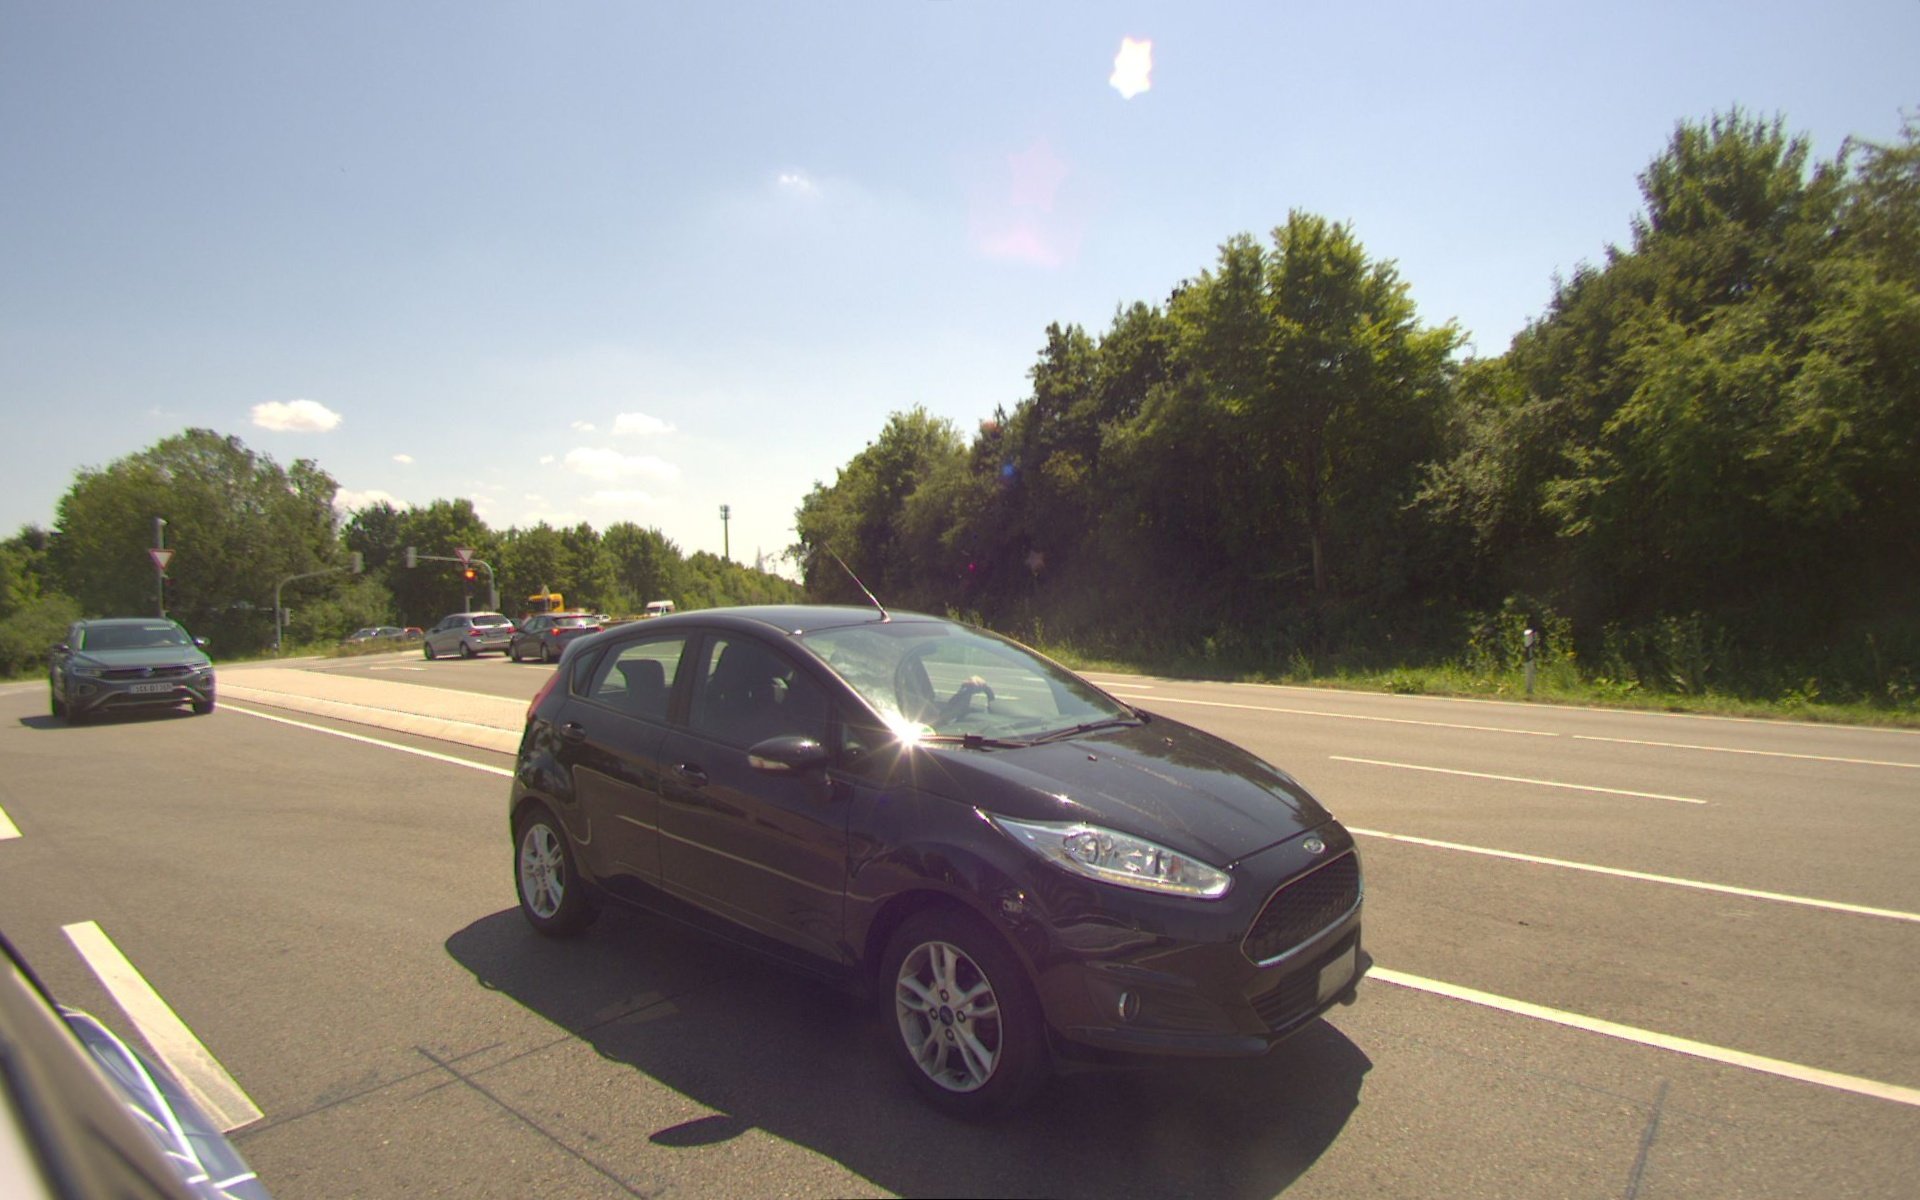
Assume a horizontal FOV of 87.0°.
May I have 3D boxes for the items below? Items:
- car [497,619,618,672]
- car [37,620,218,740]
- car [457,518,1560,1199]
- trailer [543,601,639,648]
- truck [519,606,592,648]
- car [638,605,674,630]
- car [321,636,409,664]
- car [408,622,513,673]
[{"bbox_3d":[-12.227,1.399,30.629,1.970,1.450,4.226,-1,-2,-43],"label":"car"},{"bbox_3d":[-13.287,1.193,16.054,1.813,1.598,4.393,-1,-2,-45],"label":"car"},{"bbox_3d":[-0.258,0.698,3.958,4.206,1.505,1.635,-3,-3,42],"label":"car"},{"bbox_3d":[-35.501,2.318,98.152,3.037,4.093,13.143,-3,-1,7],"label":"trailer"},{"bbox_3d":[-36.361,2.421,91.240,2.952,3.564,6.839,-3,-1,8],"label":"truck"},{"bbox_3d":[-34.043,1.984,113.349,2.140,2.627,5.477,-3,-1,2],"label":"car"},{"bbox_3d":[-34.719,2.891,59.210,2.095,1.603,4.436,-1,-2,10],"label":"car"},{"bbox_3d":[-17.871,1.698,36.147,4.347,1.611,1.593,-4,-2,38],"label":"car"}]
